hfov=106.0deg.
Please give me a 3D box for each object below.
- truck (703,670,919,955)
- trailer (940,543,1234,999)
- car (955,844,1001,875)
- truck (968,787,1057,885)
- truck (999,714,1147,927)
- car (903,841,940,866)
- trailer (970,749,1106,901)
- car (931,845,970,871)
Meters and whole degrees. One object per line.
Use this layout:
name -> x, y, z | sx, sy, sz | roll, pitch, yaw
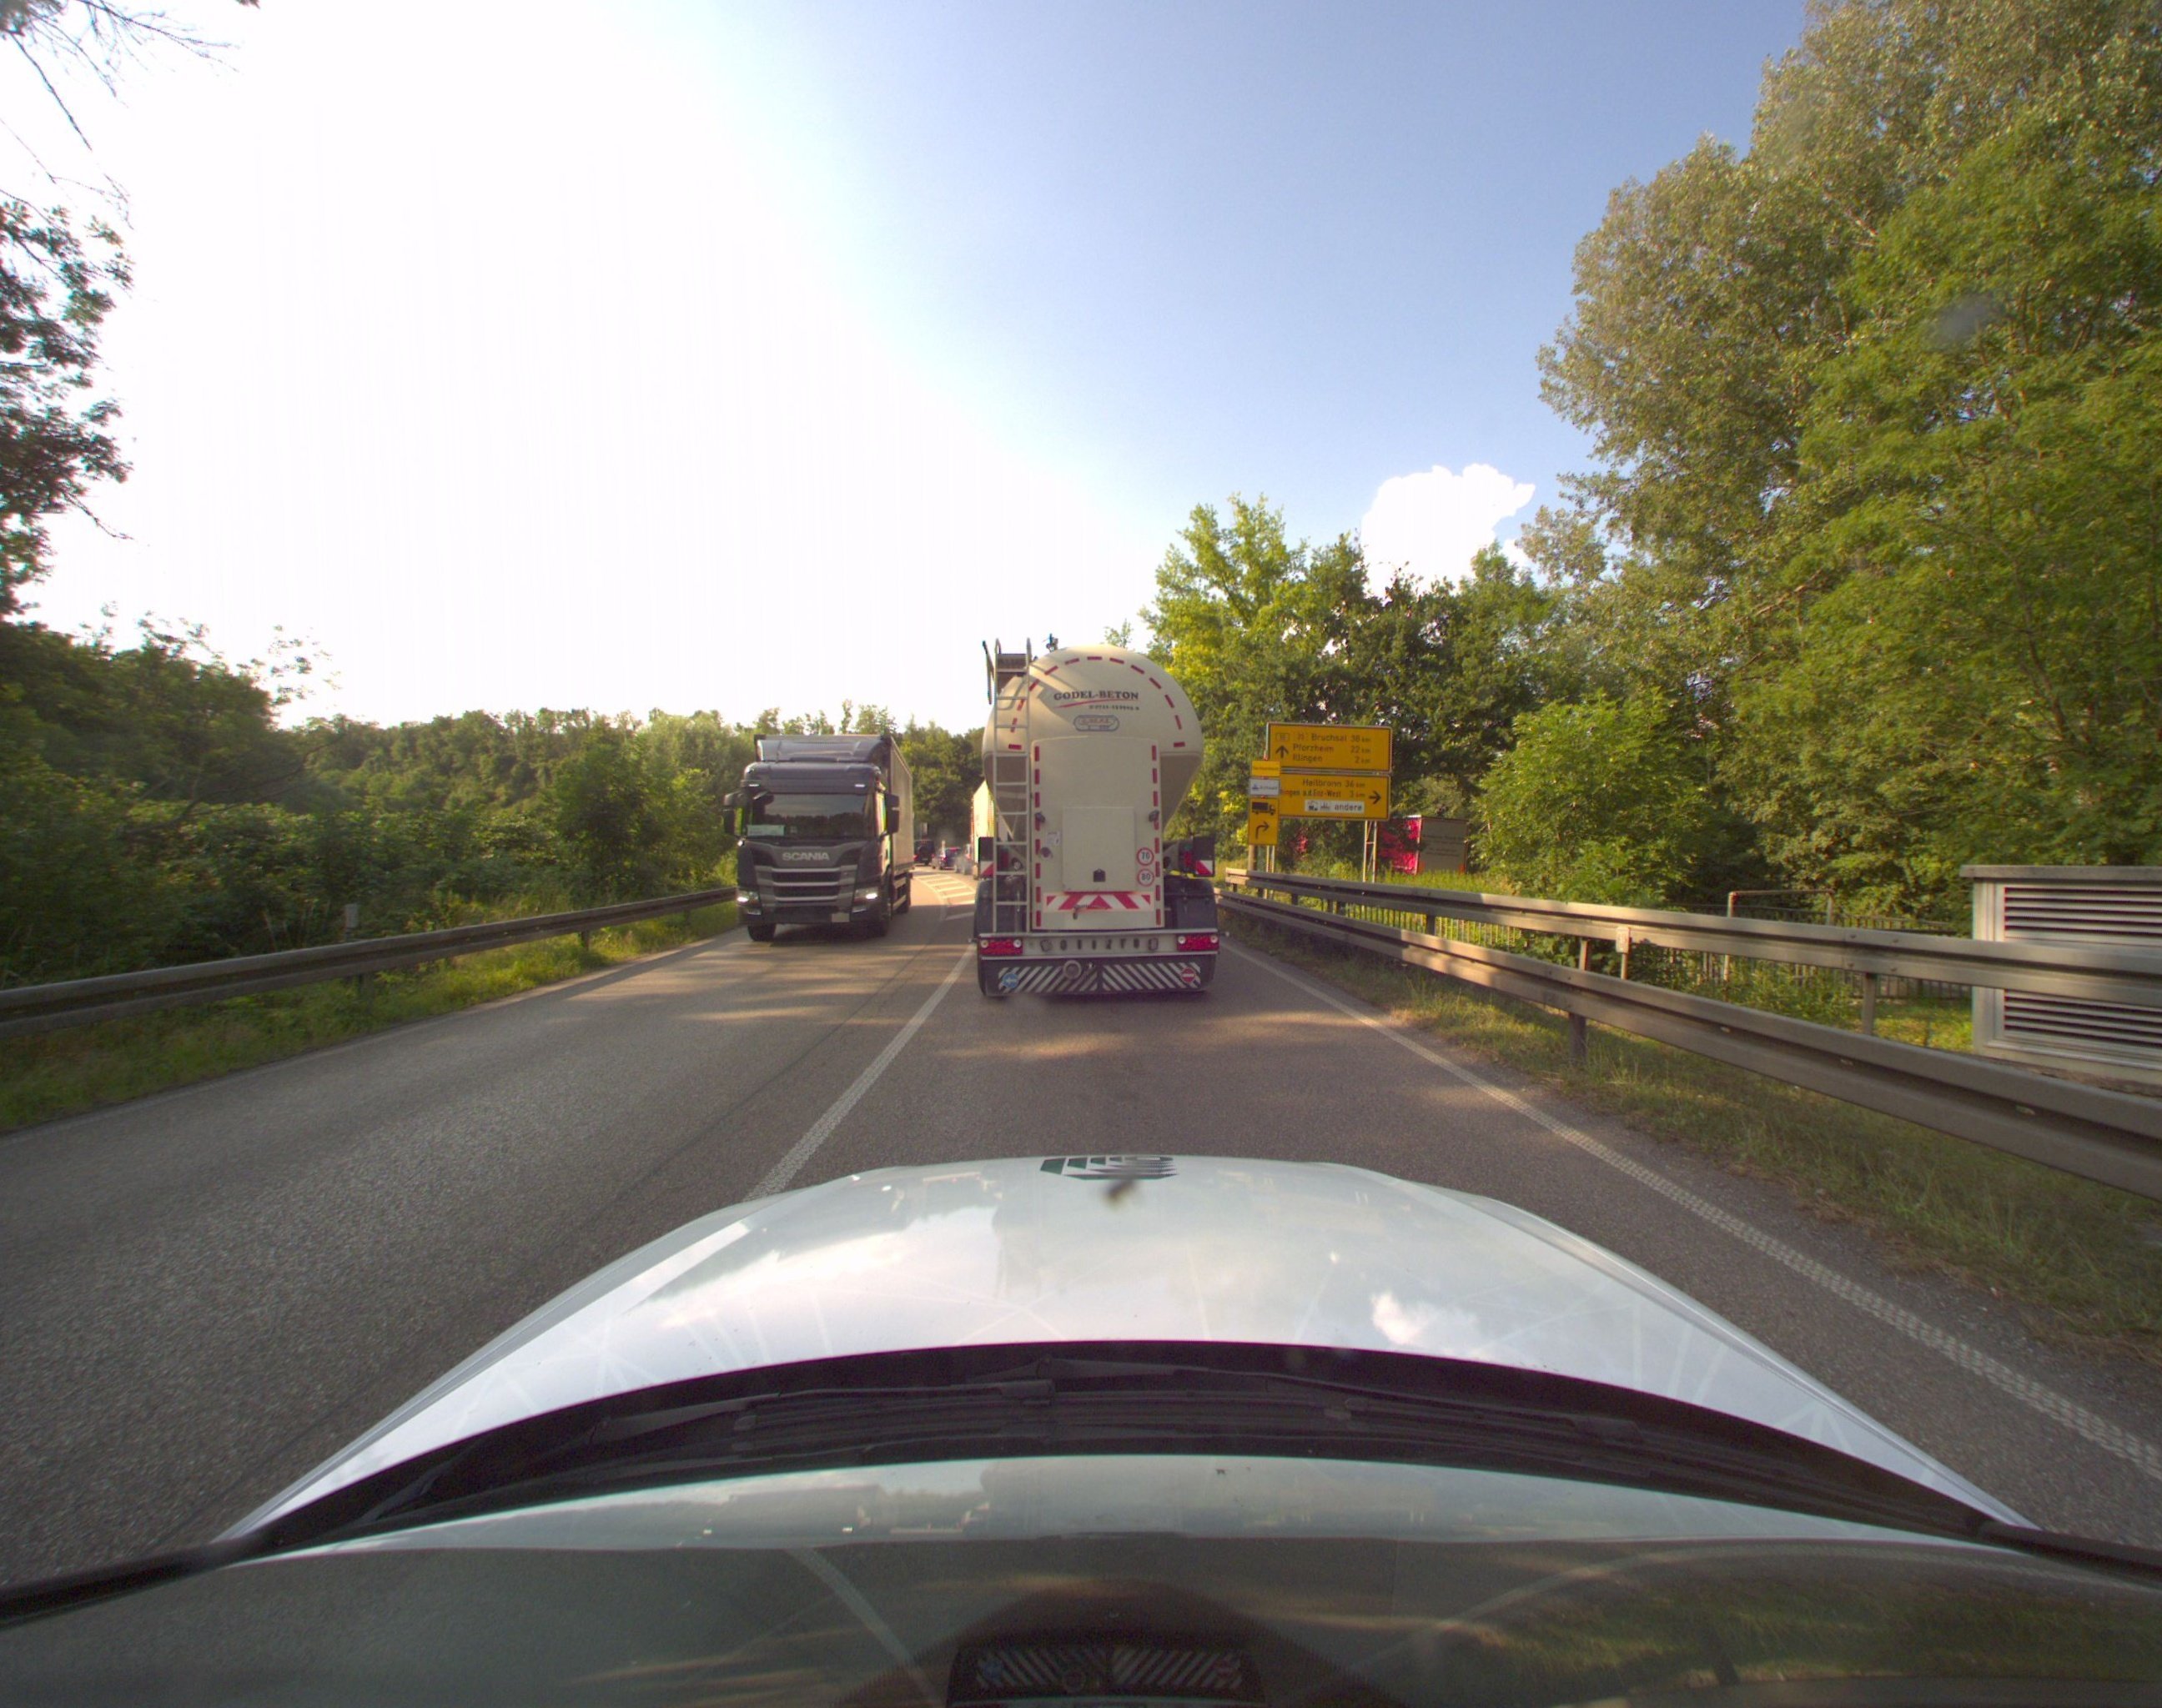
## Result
truck -> -5.383, -0.653, 18.360 | 3.012, 4.585, 10.208 | 0, 0, -9
trailer -> -0.110, -0.818, 12.834 | 2.879, 4.454, 9.597 | 0, 0, -2
car -> -5.898, 0.277, 46.233 | 1.873, 1.628, 3.976 | -2, 1, -18
truck -> -3.298, -0.807, 37.447 | 3.451, 4.086, 6.467 | 0, 1, -11
truck -> -0.375, -0.639, 18.507 | 2.819, 4.035, 5.884 | 0, 0, -5
car -> -12.376, -0.069, 62.955 | 1.966, 1.851, 3.968 | -2, 1, -24
trailer -> -2.138, -0.839, 30.954 | 3.546, 4.513, 12.938 | 1, 0, -10
car -> -8.720, 0.253, 54.149 | 1.873, 1.564, 3.975 | -2, 1, -19
